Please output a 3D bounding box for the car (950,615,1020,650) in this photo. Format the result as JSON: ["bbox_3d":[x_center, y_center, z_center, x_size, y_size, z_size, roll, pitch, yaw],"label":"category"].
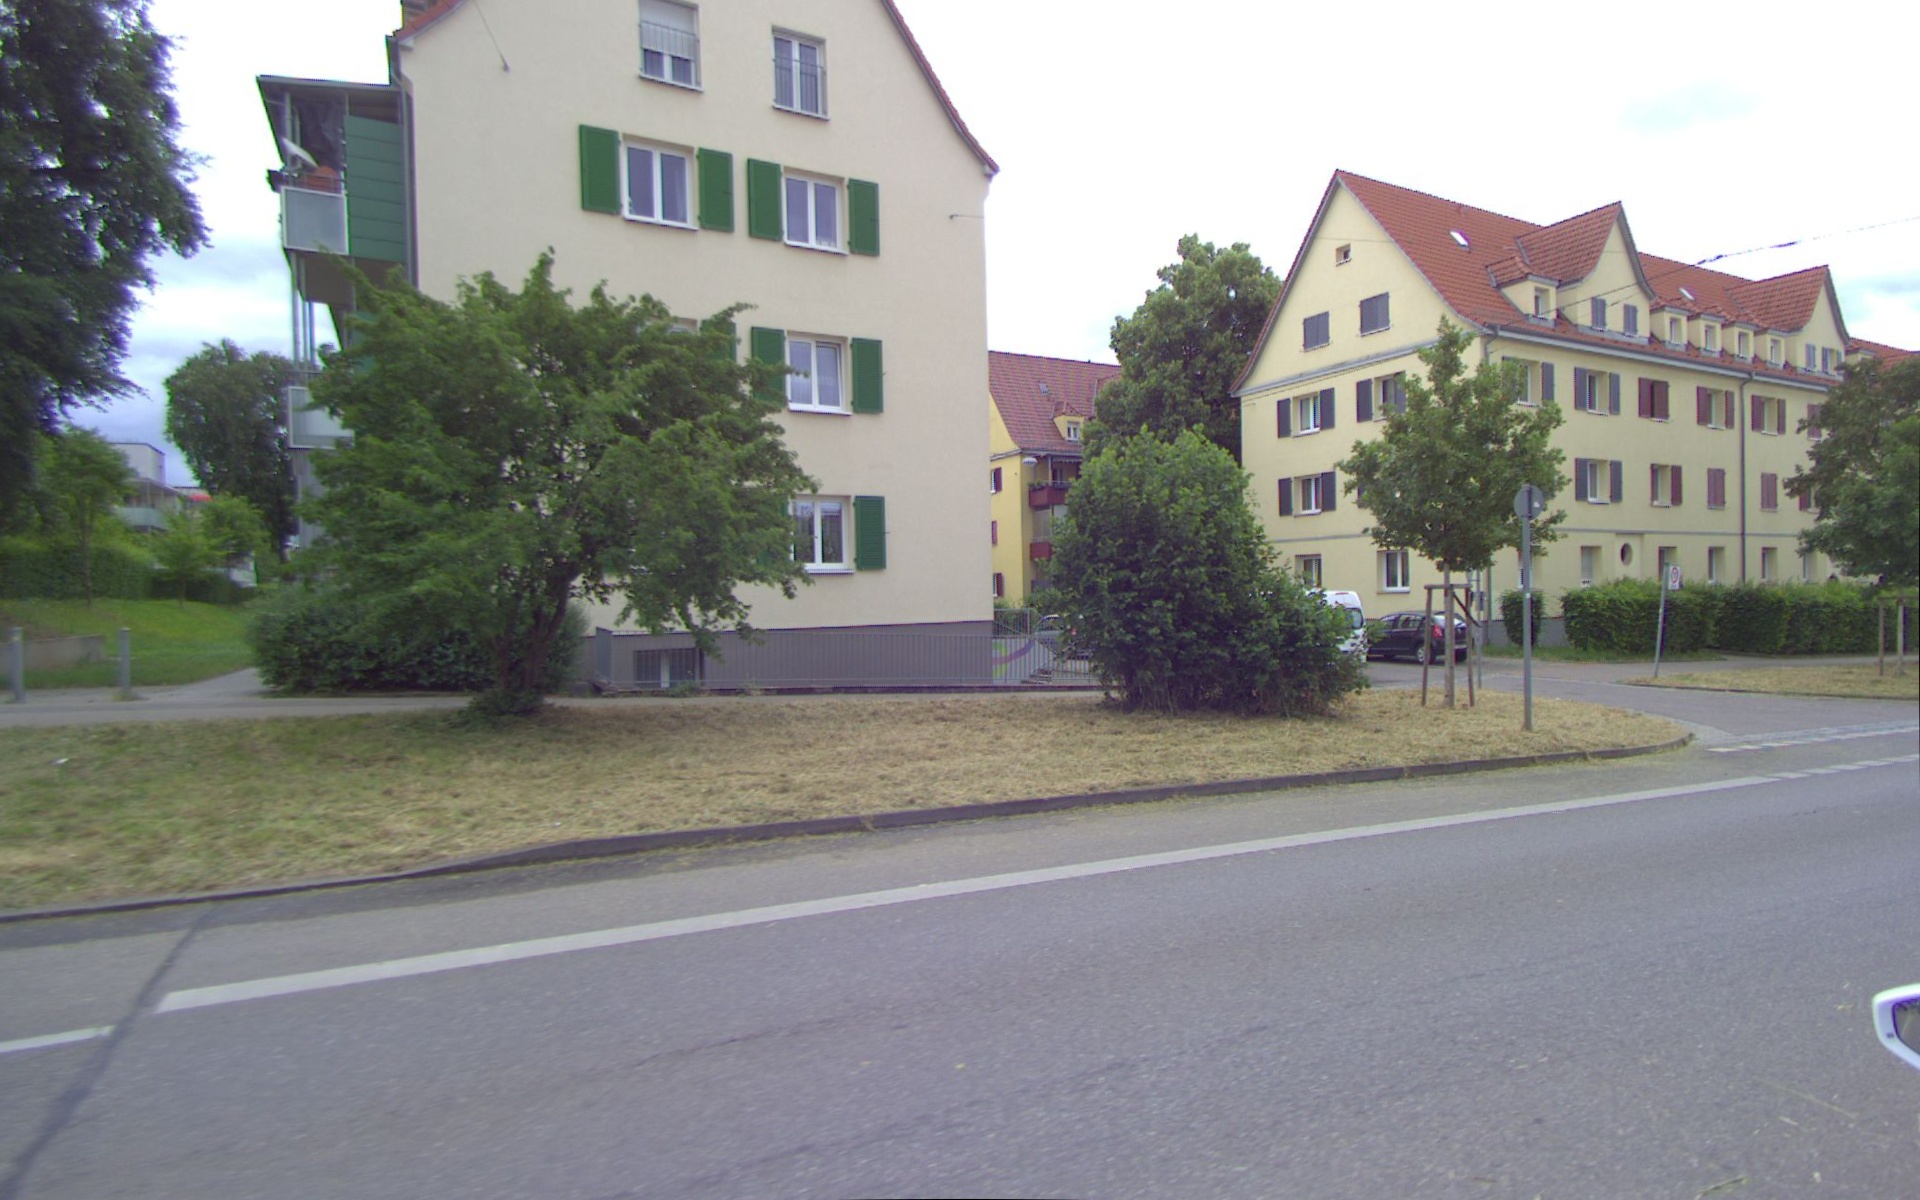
[{"bbox_3d":[1.042,1.364,43.350,1.566,1.405,3.447,1,0,-28],"label":"car"}]

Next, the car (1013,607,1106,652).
[{"bbox_3d":[3.737,1.086,38.444,1.723,1.587,3.802,1,0,-28],"label":"car"}]

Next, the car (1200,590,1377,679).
[{"bbox_3d":[9.130,0.929,28.326,1.970,2.283,4.699,1,-1,-28],"label":"car"}]

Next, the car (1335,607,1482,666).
[{"bbox_3d":[13.582,1.059,30.632,1.670,1.550,3.888,-3,2,-29],"label":"car"}]
